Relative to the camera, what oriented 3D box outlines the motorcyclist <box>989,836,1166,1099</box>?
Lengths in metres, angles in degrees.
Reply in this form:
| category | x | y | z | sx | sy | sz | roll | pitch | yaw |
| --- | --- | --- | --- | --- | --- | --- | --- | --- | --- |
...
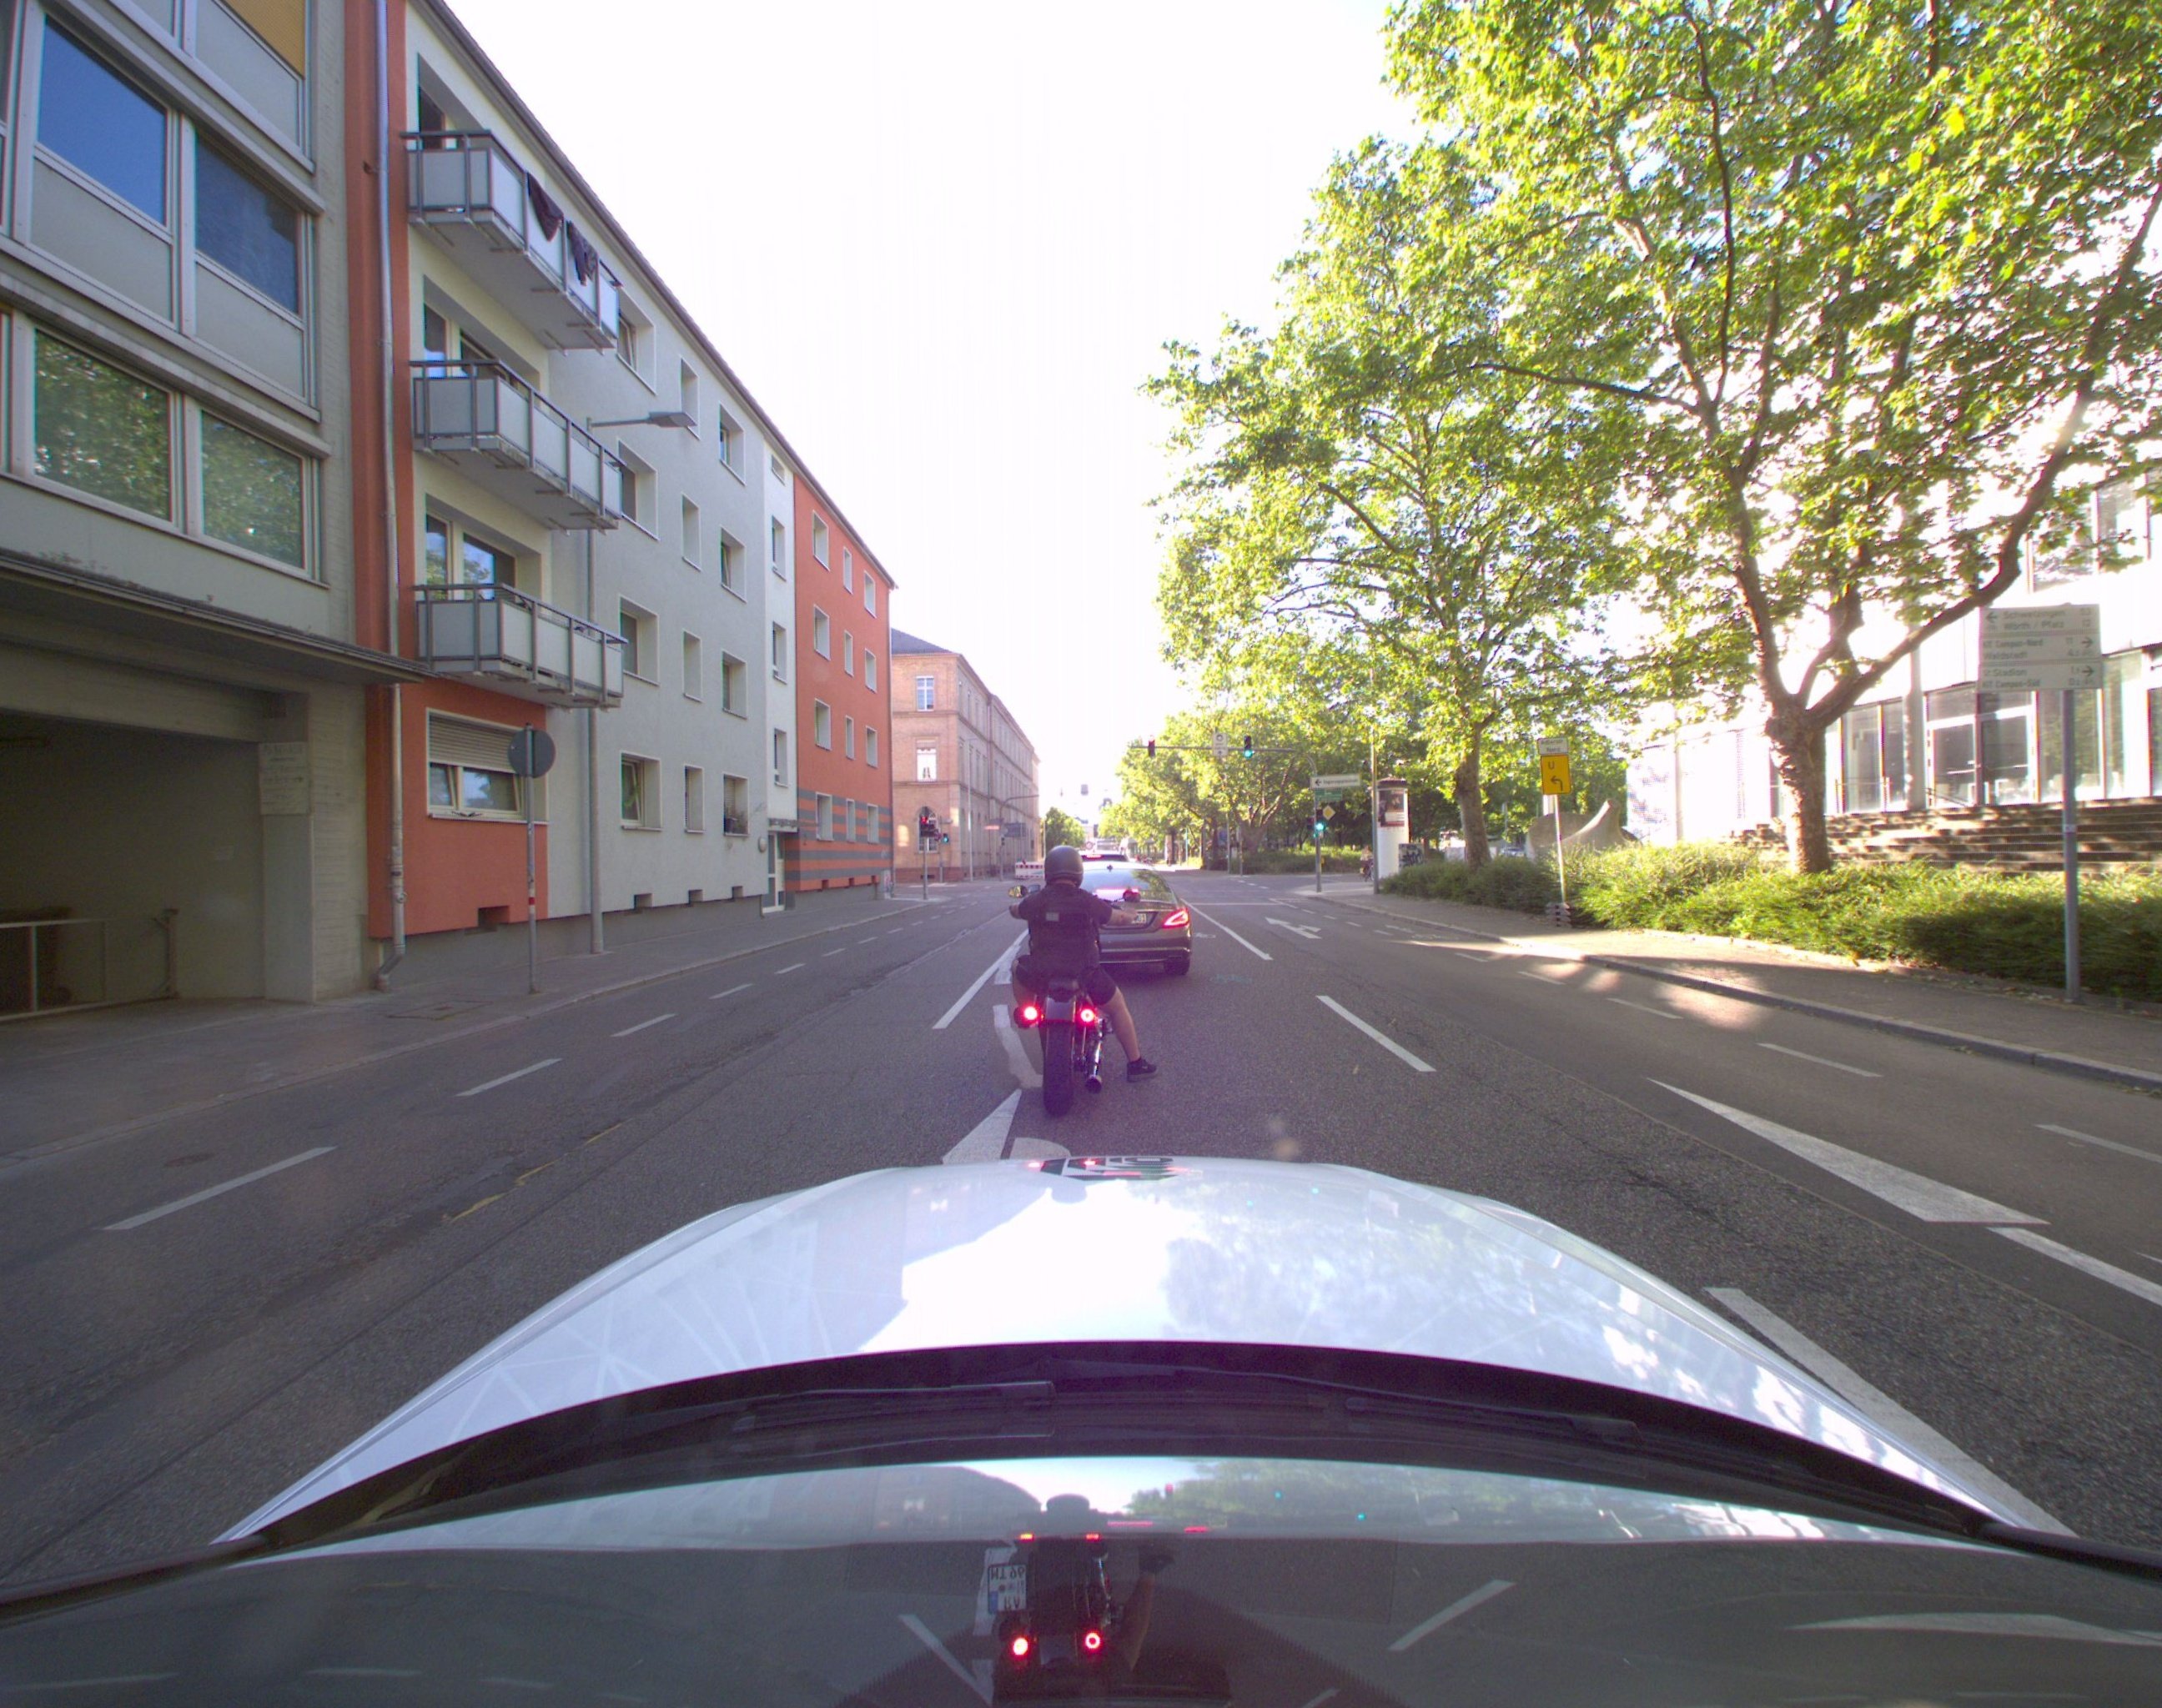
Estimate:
| category | x | y | z | sx | sy | sz | roll | pitch | yaw |
| --- | --- | --- | --- | --- | --- | --- | --- | --- | --- |
| motorcyclist | -0.009 | 0.689 | 5.380 | 1.057 | 1.582 | 0.908 | 0 | -1 | 1 |

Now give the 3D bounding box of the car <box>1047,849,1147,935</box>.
| category | x | y | z | sx | sy | sz | roll | pitch | yaw |
| --- | --- | --- | --- | --- | --- | --- | --- | --- | --- |
| car | 0.265 | 0.697 | 16.885 | 1.808 | 1.536 | 3.847 | -1 | 0 | -1 |

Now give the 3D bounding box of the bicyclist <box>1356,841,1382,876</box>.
| category | x | y | z | sx | sy | sz | roll | pitch | yaw |
| --- | --- | --- | --- | --- | --- | --- | --- | --- | --- |
| bicyclist | 13.318 | 0.219 | 37.688 | 0.717 | 1.582 | 0.932 | 0 | -1 | -12 |

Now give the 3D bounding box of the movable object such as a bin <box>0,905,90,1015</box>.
| category | x | y | z | sx | sy | sz | roll | pitch | yaw |
| --- | --- | --- | --- | --- | --- | --- | --- | --- | --- |
| movable object such as a bin | -11.328 | 1.101 | 8.637 | 0.736 | 1.074 | 0.716 | 0 | -1 | 2 |

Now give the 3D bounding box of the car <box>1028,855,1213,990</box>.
| category | x | y | z | sx | sy | sz | roll | pitch | yaw |
| --- | --- | --- | --- | --- | --- | --- | --- | --- | --- |
| car | 0.317 | 0.759 | 11.220 | 1.900 | 1.441 | 4.279 | -1 | 0 | -6 |

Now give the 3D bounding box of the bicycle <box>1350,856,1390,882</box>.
| category | x | y | z | sx | sy | sz | roll | pitch | yaw |
| --- | --- | --- | --- | --- | --- | --- | --- | --- | --- |
| bicycle | 13.330 | 0.679 | 37.621 | 0.716 | 1.172 | 2.167 | 0 | -1 | -12 |

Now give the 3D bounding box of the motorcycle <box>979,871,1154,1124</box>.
| category | x | y | z | sx | sy | sz | roll | pitch | yaw |
| --- | --- | --- | --- | --- | --- | --- | --- | --- | --- |
| motorcycle | -0.044 | 0.814 | 5.650 | 0.958 | 1.357 | 2.321 | 0 | -1 | 2 |
